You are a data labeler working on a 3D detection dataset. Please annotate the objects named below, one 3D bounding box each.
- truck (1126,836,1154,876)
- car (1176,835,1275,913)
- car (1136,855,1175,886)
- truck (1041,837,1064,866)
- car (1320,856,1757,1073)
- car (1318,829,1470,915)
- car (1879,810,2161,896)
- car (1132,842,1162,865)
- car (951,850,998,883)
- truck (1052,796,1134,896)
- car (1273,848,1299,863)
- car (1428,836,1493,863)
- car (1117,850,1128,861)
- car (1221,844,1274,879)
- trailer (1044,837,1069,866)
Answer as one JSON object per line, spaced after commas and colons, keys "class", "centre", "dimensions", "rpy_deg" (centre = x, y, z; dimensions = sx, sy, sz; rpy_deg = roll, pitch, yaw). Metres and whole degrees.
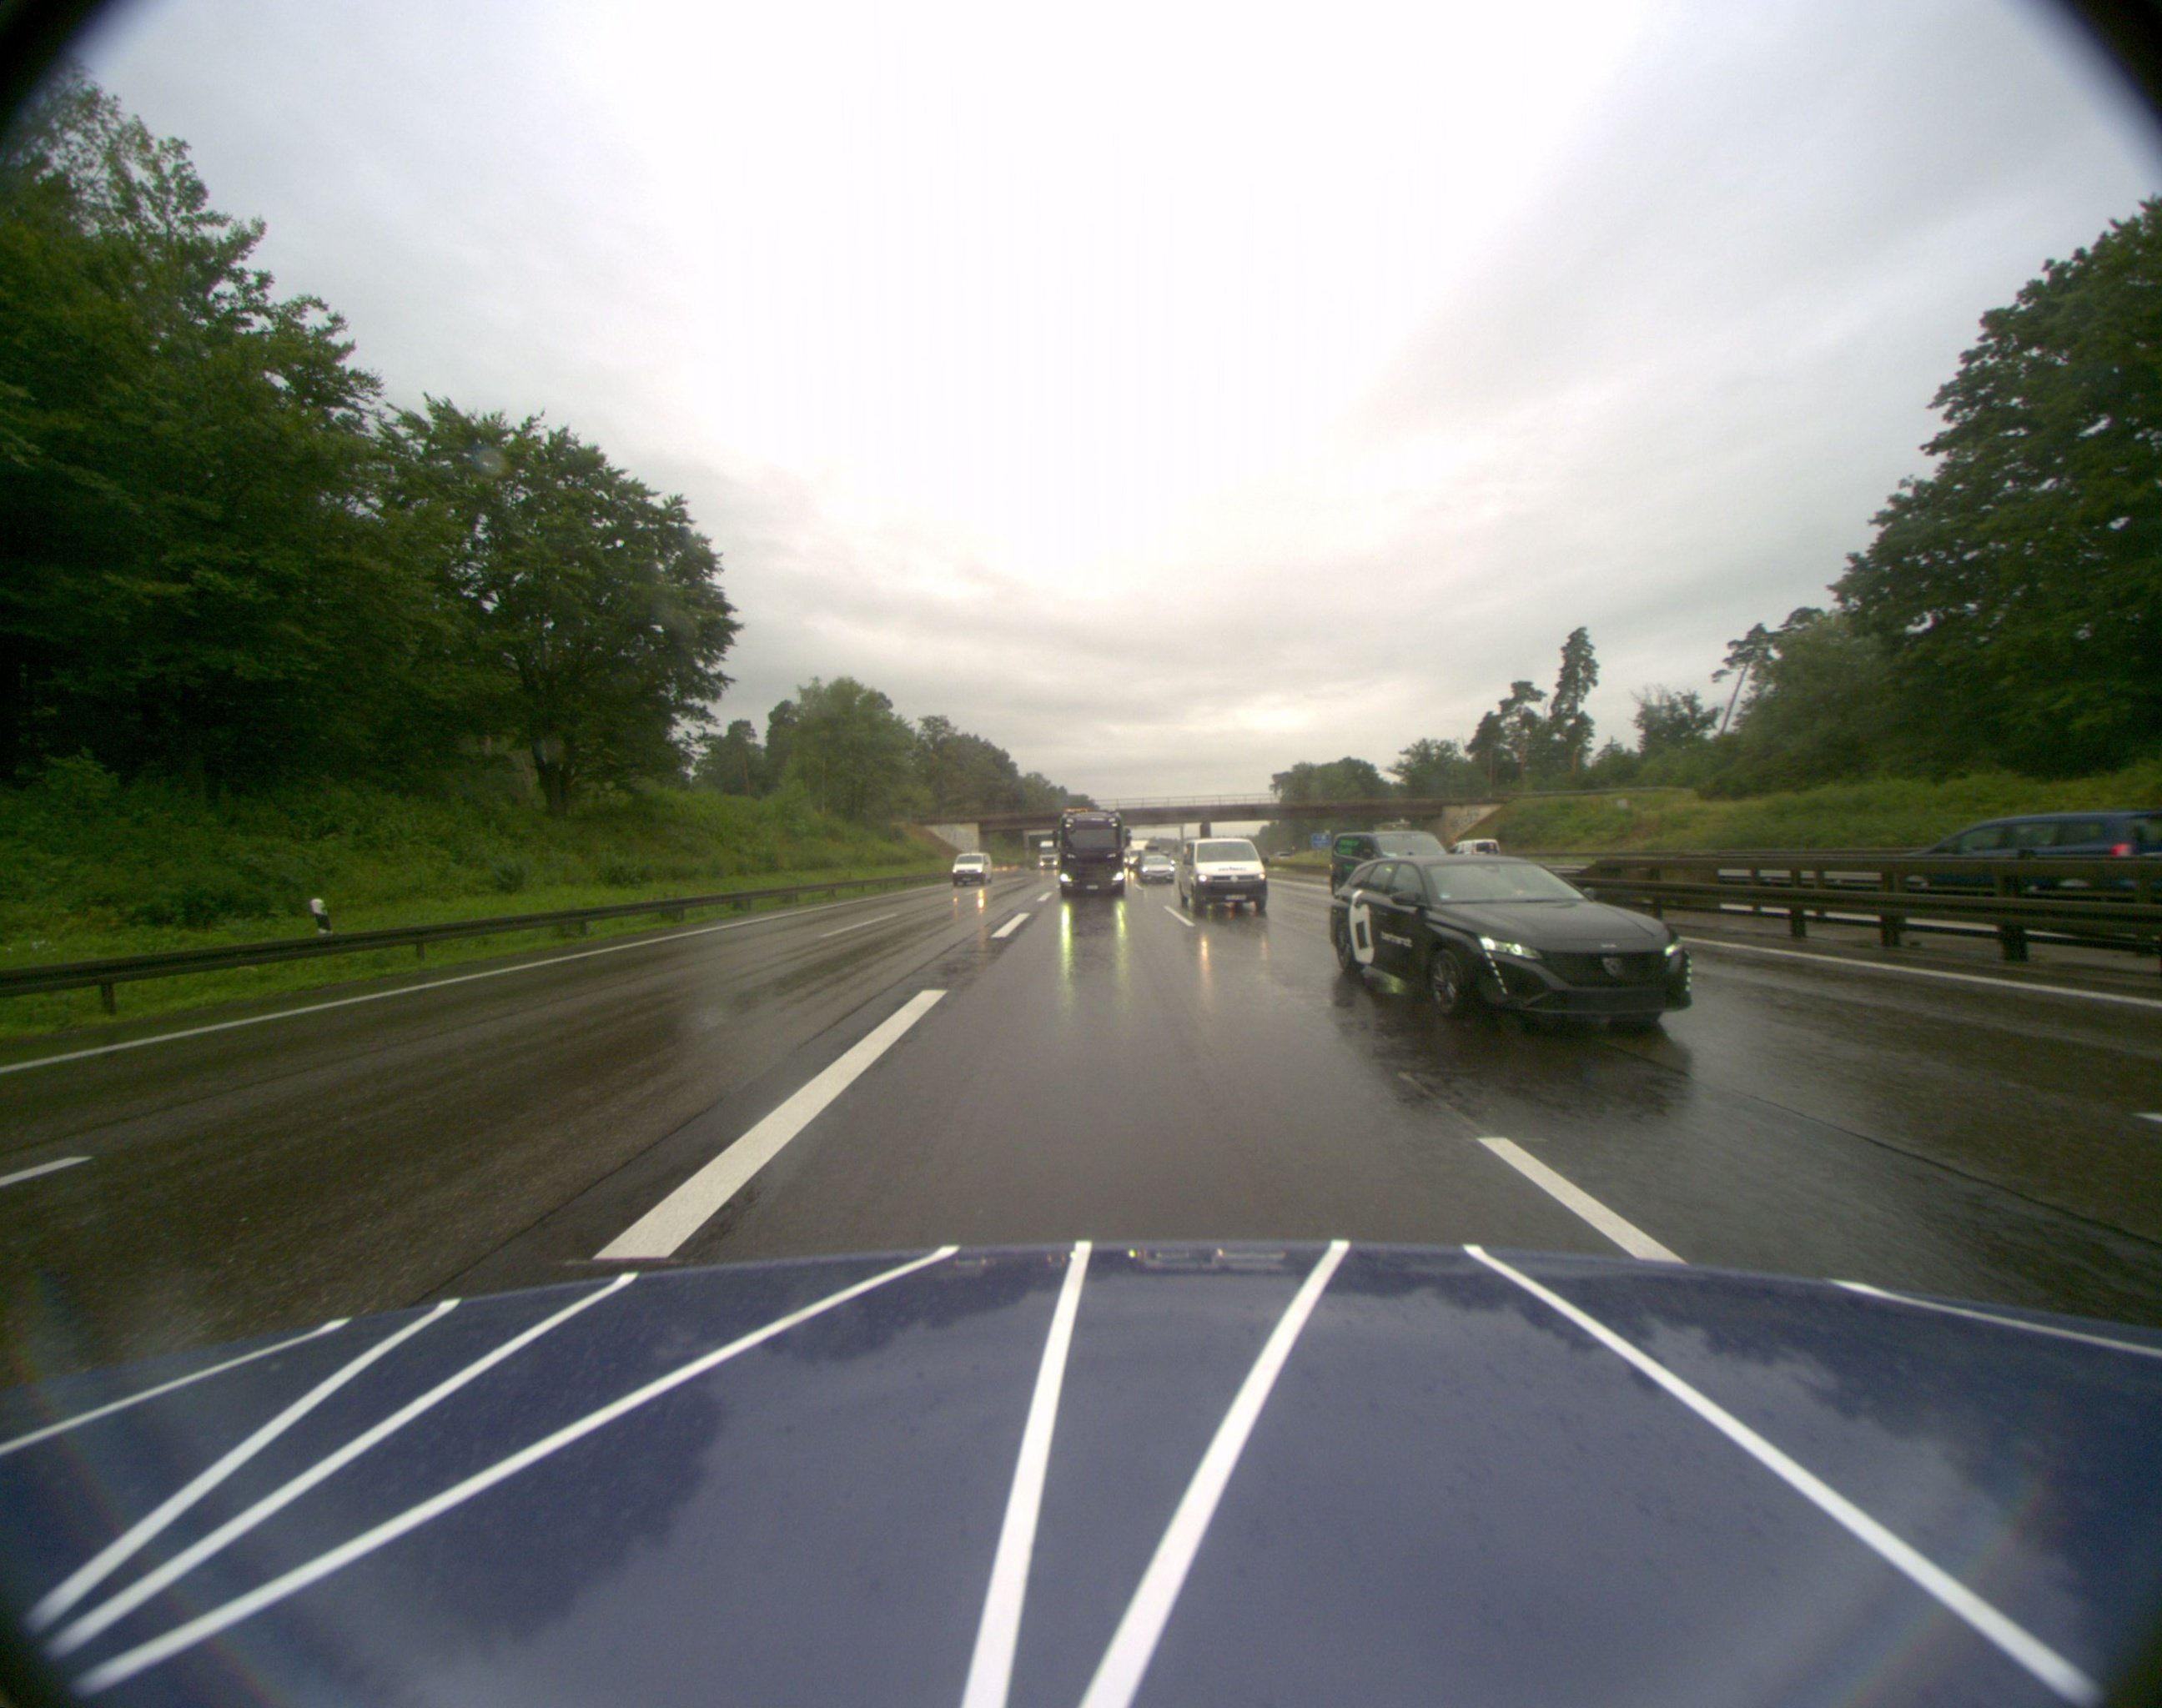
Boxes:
{"class": "truck", "centre": [6.068, 0.211, 78.946], "dimensions": [2.521, 3.941, 6.995], "rpy_deg": [-2, 0, 2]}
{"class": "car", "centre": [3.901, 0.494, 21.319], "dimensions": [1.994, 1.869, 4.767], "rpy_deg": [-2, 0, 2]}
{"class": "car", "centre": [4.084, 0.878, 42.388], "dimensions": [1.850, 1.496, 4.466], "rpy_deg": [-2, 0, 2]}
{"class": "truck", "centre": [-3.979, -0.383, 108.833], "dimensions": [2.608, 3.991, 6.012], "rpy_deg": [-3, 1, 2]}
{"class": "car", "centre": [3.990, 0.807, 7.706], "dimensions": [1.850, 1.495, 4.467], "rpy_deg": [-2, 0, 2]}
{"class": "car", "centre": [8.034, 0.391, 20.161], "dimensions": [1.996, 1.933, 5.243], "rpy_deg": [-2, 1, 2]}
{"class": "car", "centre": [19.308, -0.042, 15.345], "dimensions": [1.840, 1.489, 4.332], "rpy_deg": [-2, 0, 1]}
{"class": "car", "centre": [4.784, -0.028, 55.372], "dimensions": [1.994, 1.551, 4.768], "rpy_deg": [-2, 0, 3]}
{"class": "car", "centre": [-6.561, 0.717, 47.435], "dimensions": [1.994, 1.910, 4.768], "rpy_deg": [-2, 0, 3]}
{"class": "truck", "centre": [0.694, -0.359, 33.115], "dimensions": [2.879, 3.528, 10.911], "rpy_deg": [-2, 1, 3]}
{"class": "car", "centre": [23.013, 0.161, 85.428], "dimensions": [1.840, 1.489, 4.609], "rpy_deg": [-2, 0, 2]}
{"class": "car", "centre": [23.200, -0.261, 46.662], "dimensions": [1.840, 1.489, 4.332], "rpy_deg": [-2, 0, 1]}
{"class": "car", "centre": [8.543, 0.292, 157.230], "dimensions": [1.998, 2.002, 4.000], "rpy_deg": [-2, 0, 1]}
{"class": "car", "centre": [9.454, 0.382, 43.417], "dimensions": [1.915, 1.852, 4.758], "rpy_deg": [-2, 1, 0]}
{"class": "trailer", "centre": [-3.566, -0.441, 115.082], "dimensions": [2.559, 3.991, 13.715], "rpy_deg": [-2, 1, 3]}
